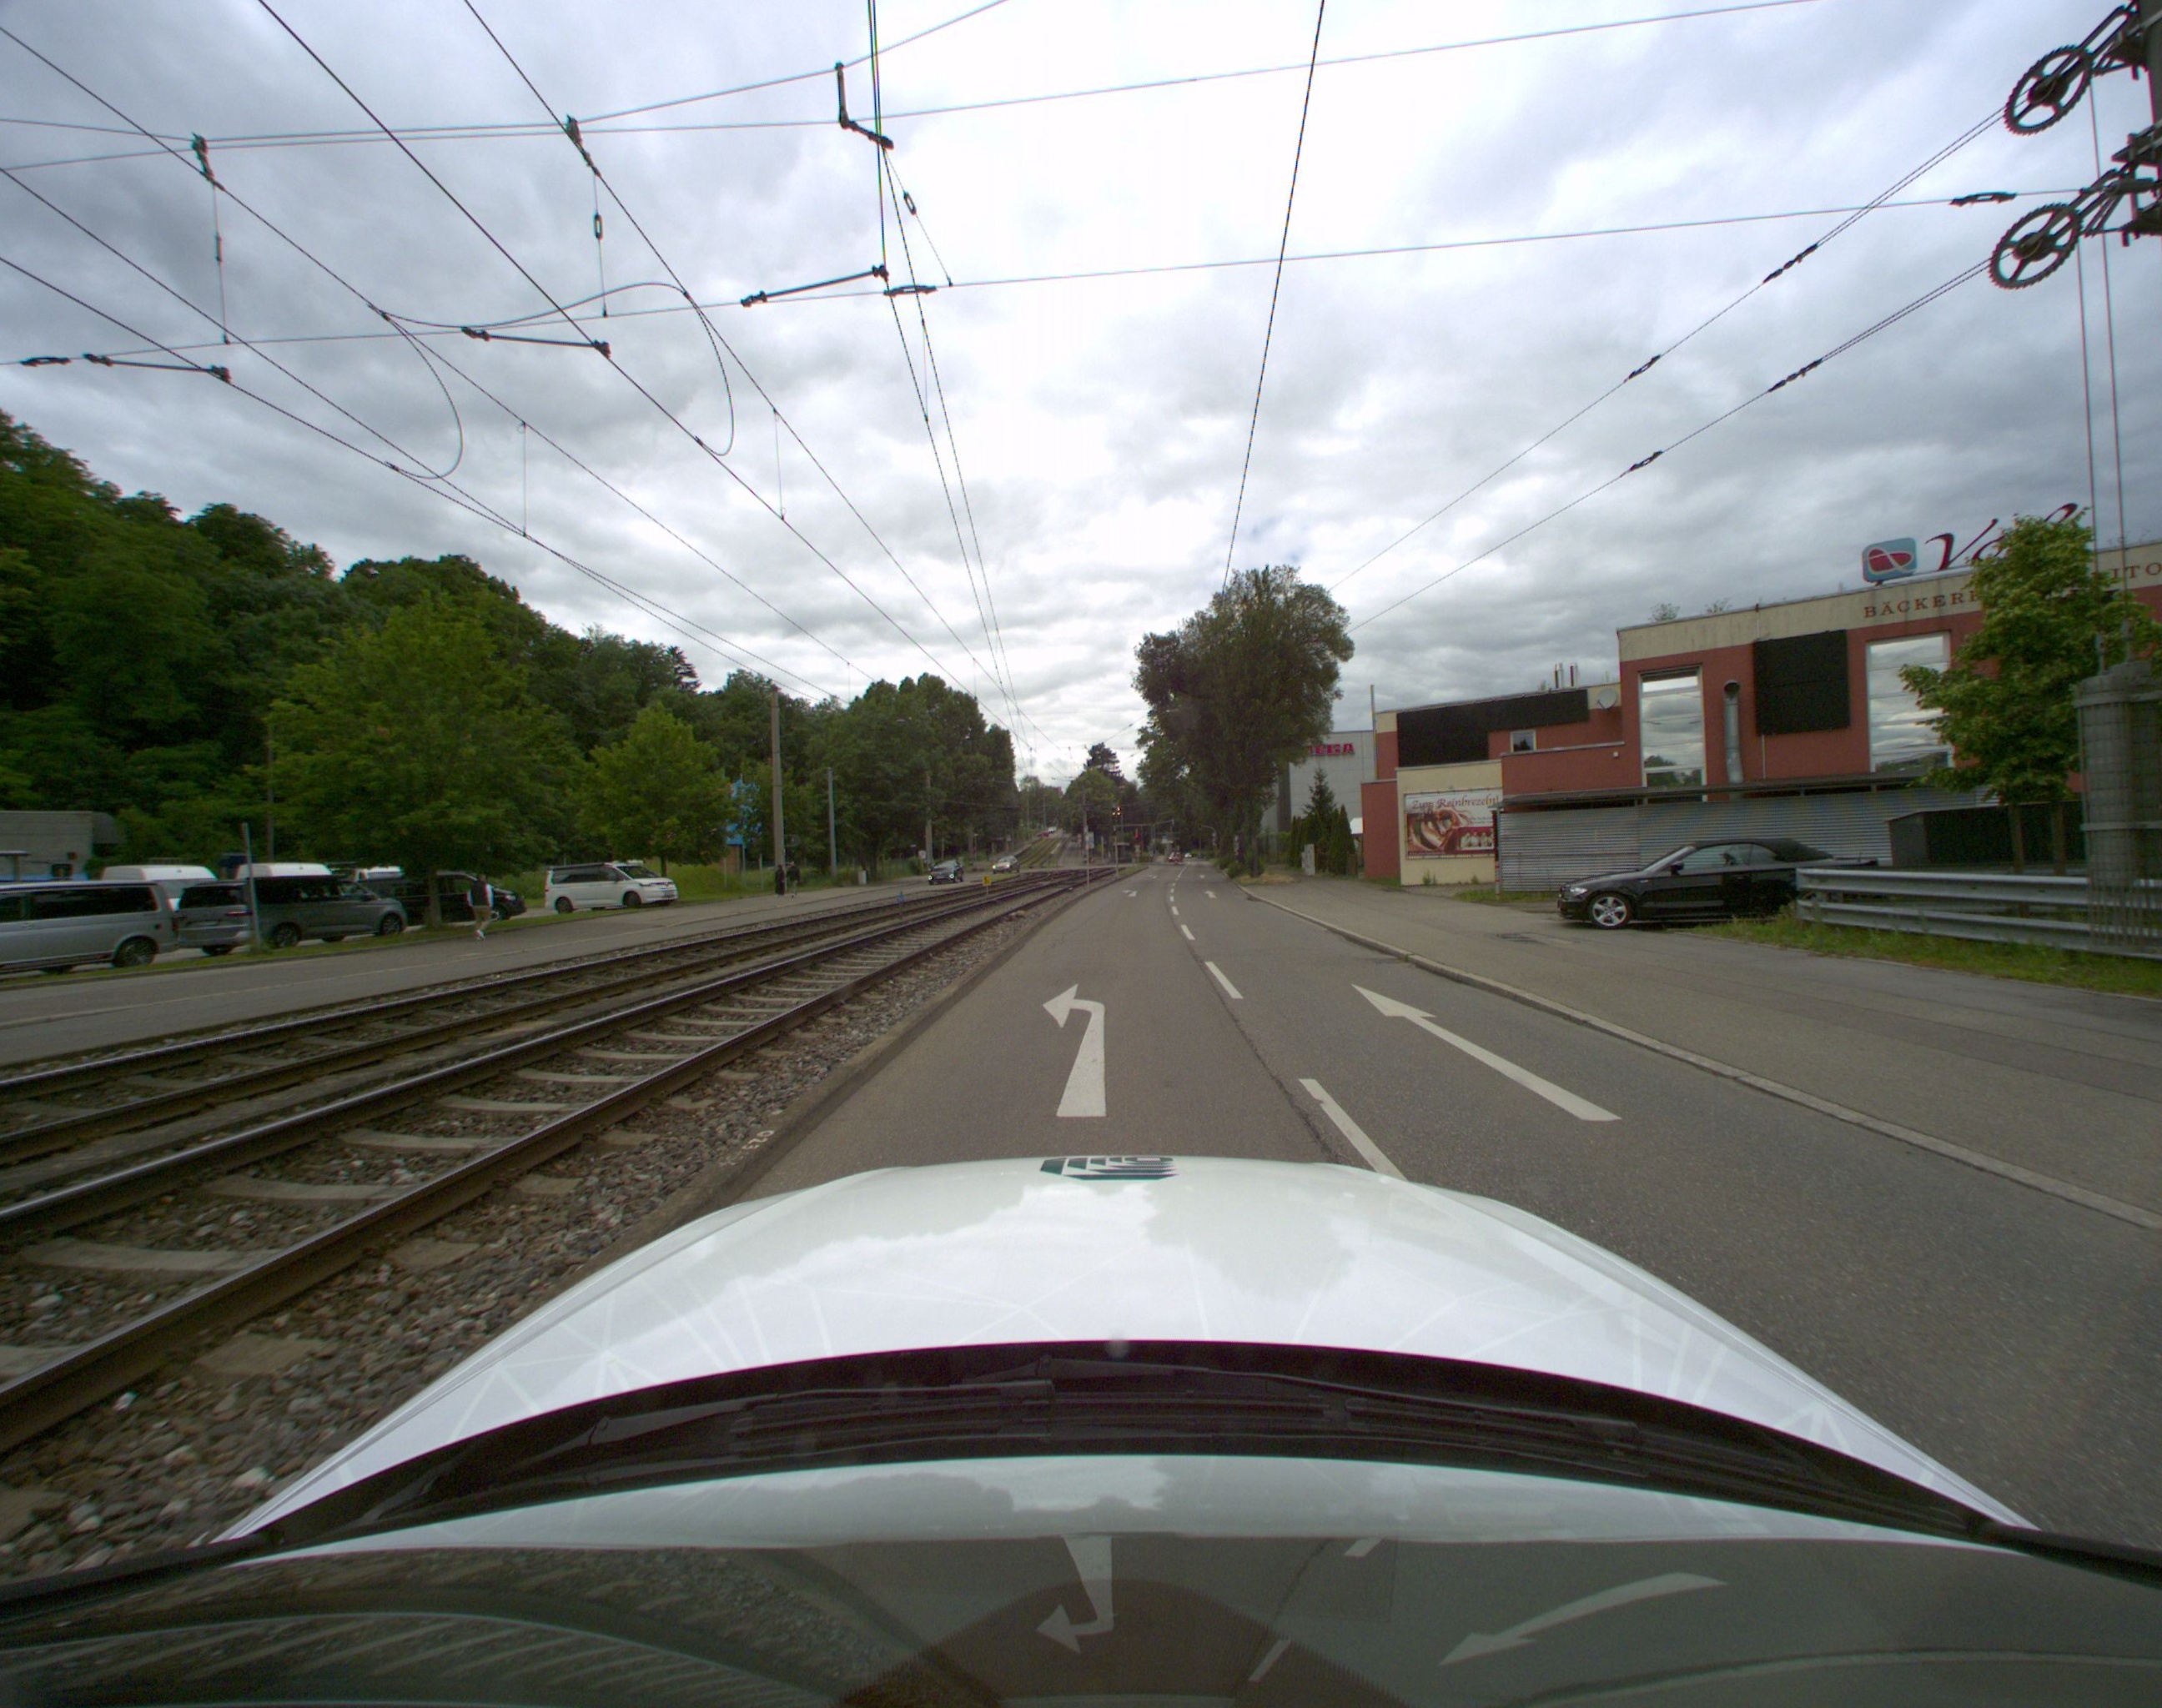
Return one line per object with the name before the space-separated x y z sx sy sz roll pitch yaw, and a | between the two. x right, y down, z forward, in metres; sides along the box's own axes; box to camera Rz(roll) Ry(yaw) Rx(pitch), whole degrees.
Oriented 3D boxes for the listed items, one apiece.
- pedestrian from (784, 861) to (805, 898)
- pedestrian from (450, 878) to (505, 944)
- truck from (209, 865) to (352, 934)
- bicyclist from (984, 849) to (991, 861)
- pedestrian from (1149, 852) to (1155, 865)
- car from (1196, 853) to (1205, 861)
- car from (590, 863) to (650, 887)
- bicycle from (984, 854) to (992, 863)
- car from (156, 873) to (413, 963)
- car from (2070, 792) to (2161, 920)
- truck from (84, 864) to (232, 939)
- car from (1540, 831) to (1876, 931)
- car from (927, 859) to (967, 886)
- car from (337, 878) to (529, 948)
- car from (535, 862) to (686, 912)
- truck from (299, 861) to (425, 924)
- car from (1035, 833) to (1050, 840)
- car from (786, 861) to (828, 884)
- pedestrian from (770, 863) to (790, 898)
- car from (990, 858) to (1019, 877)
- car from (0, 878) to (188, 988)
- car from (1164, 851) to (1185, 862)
pedestrian | -14.238 1.270 40.487 0.673 1.813 0.856 -1 0 4
pedestrian | -15.855 1.472 21.407 0.717 1.655 1.040 0 0 -6
truck | -33.580 1.903 34.142 5.706 2.588 2.483 -3 0 26
bicyclist | -14.064 0.122 122.467 0.818 1.849 1.051 -2 0 0
pedestrian | 10.018 0.605 114.463 0.765 1.852 0.911 -2 -1 5
car | 32.171 0.780 219.006 1.984 1.816 4.005 -2 0 4
car | -43.126 1.948 76.298 1.974 2.013 4.431 -2 0 33
bicycle | -14.026 0.663 122.439 0.821 1.343 2.996 -3 0 0
car | -21.713 1.626 22.620 1.987 2.013 5.129 -2 0 0
car | 15.331 -0.090 10.860 2.134 1.548 4.548 -5 -2 44
truck | -35.396 1.818 31.228 5.009 2.588 2.483 -3 0 26
car | 10.046 0.435 13.524 4.179 1.443 1.774 -2 0 29
car | -8.832 1.186 54.059 1.680 1.532 4.258 -5 0 2
car | -22.518 1.967 28.634 5.094 2.013 2.143 -2 0 -35
car | -18.823 1.281 32.677 5.023 1.888 2.173 0 0 11
truck | -32.342 1.710 36.633 5.009 2.588 2.483 -3 0 26
car | -11.015 -4.981 232.583 3.960 2.013 2.007 -3 0 12
car | -22.902 1.486 68.226 1.985 1.750 4.003 -2 0 2
pedestrian | -14.997 1.309 40.616 0.625 1.713 0.856 -1 0 4
car | -7.148 1.279 76.572 1.882 1.532 4.261 -5 0 4
car | -21.691 1.594 16.364 1.987 2.013 4.918 -2 0 0
car | 13.234 0.344 115.537 1.977 1.515 4.523 -1 0 20
